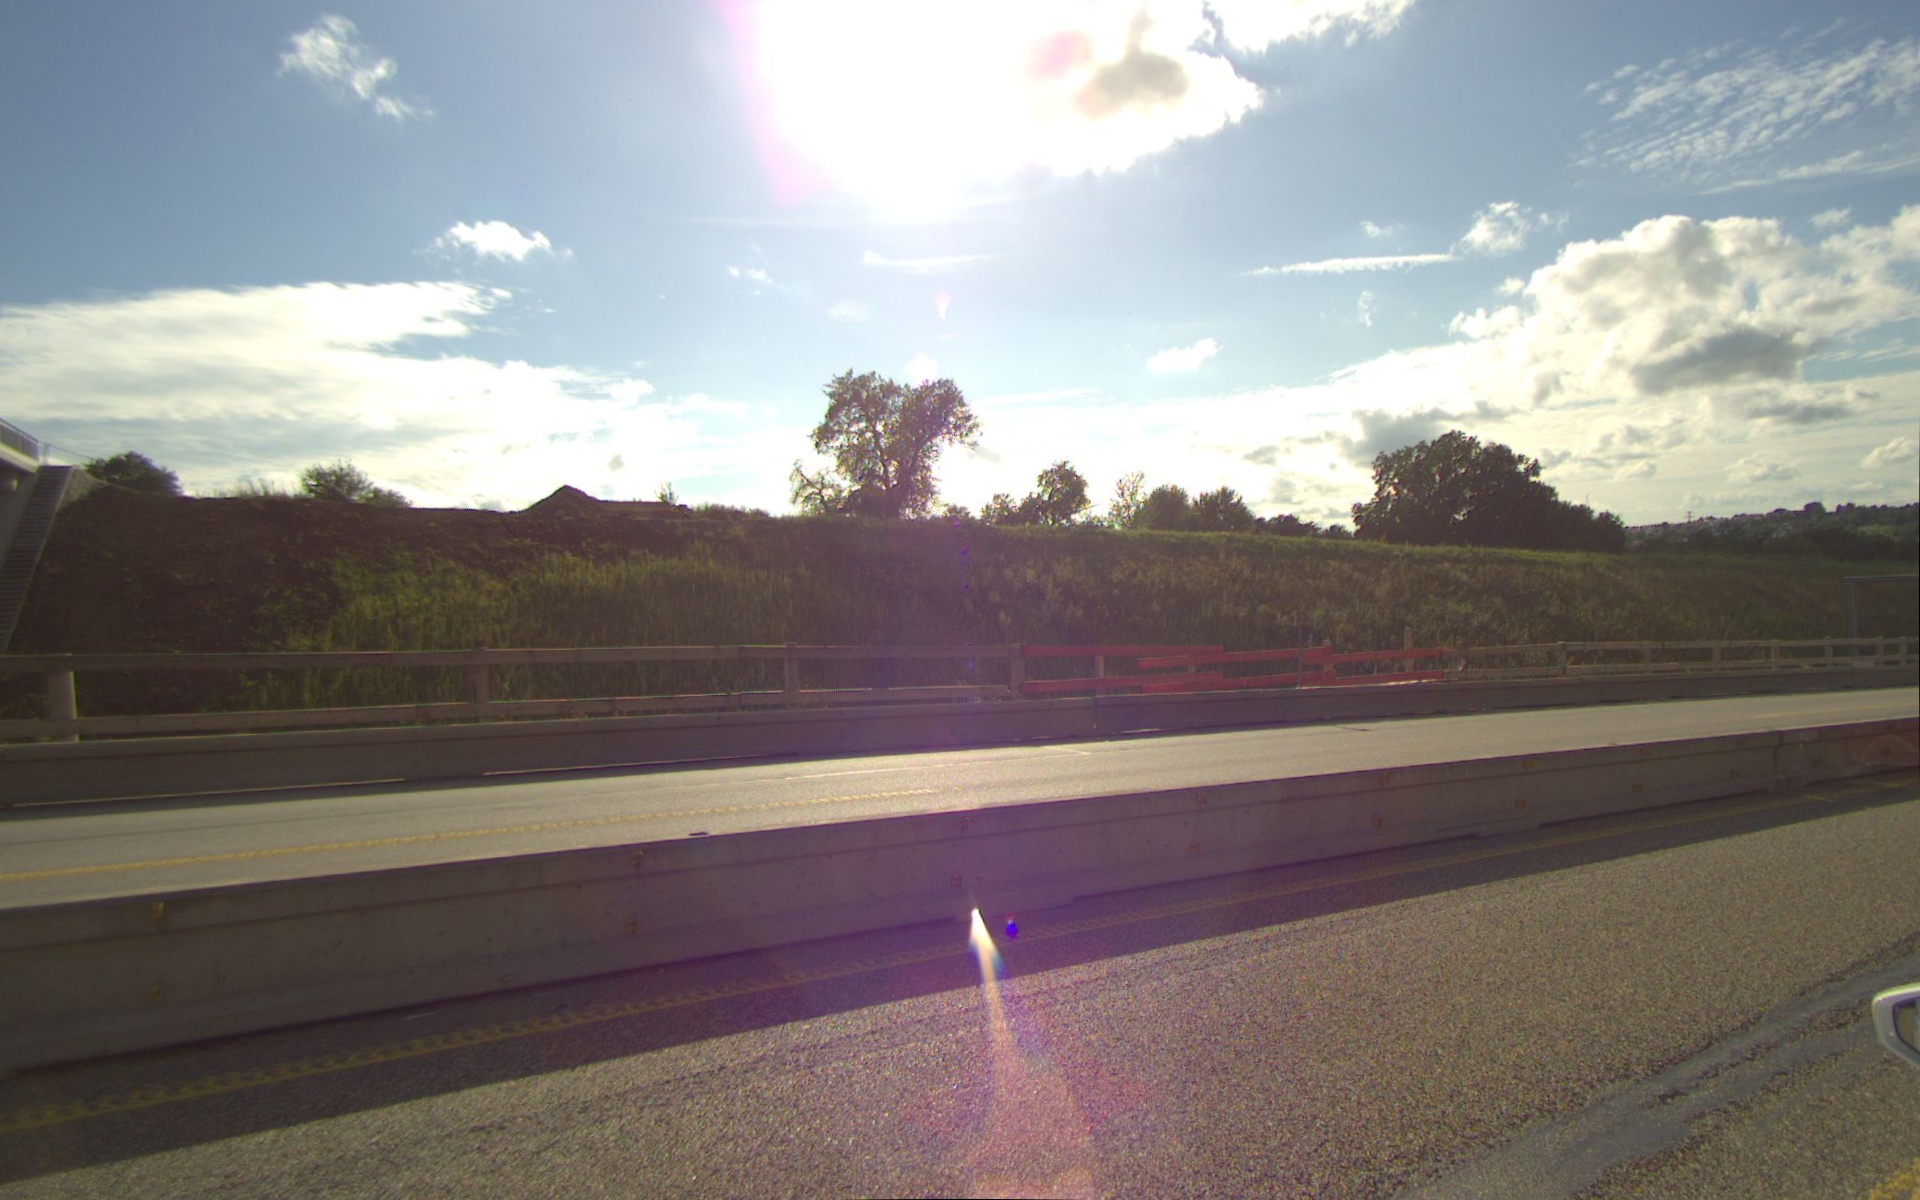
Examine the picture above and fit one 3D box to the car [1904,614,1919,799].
[{"bbox_3d":[10.248,0.905,8.648,4.628,1.512,1.814,1,1,-30],"label":"car"}]
